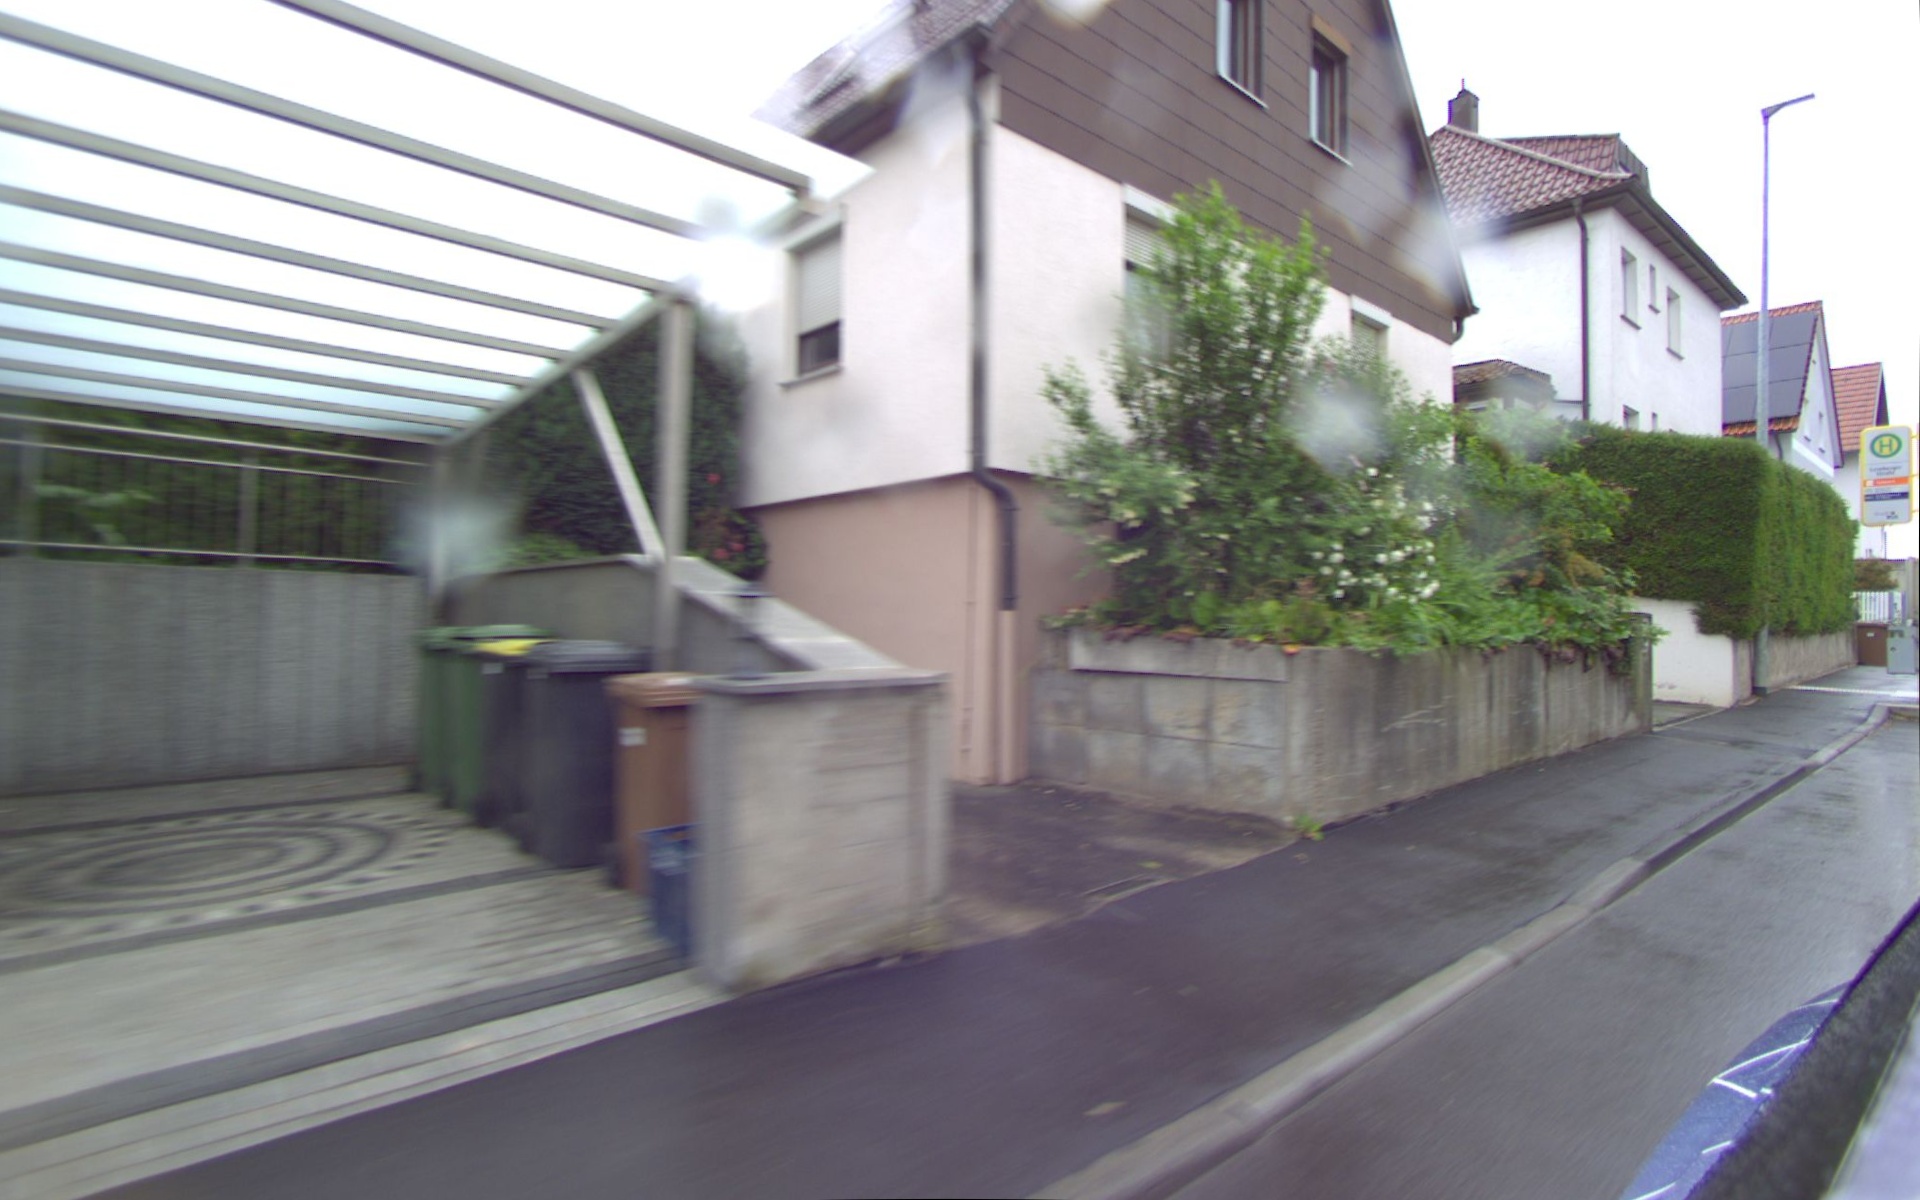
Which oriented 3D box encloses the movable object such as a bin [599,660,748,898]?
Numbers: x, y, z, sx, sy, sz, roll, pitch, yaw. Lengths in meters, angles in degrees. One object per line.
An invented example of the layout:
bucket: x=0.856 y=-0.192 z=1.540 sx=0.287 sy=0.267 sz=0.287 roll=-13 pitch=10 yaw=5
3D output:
movable object such as a bin: x=-1.258 y=0.745 z=4.443 sx=0.468 sy=0.916 sz=0.494 roll=0 pitch=0 yaw=-41

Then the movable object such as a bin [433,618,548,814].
movable object such as a bin: x=-2.783 y=0.650 z=5.991 sx=0.486 sy=1.074 sz=0.543 roll=0 pitch=0 yaw=-41

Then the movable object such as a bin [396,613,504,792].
movable object such as a bin: x=-3.293 y=0.626 z=6.527 sx=0.486 sy=1.074 sz=0.632 roll=0 pitch=0 yaw=-41

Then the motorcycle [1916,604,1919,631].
motorcycle: x=36.036 y=0.666 z=37.323 sx=0.547 sy=1.025 sz=1.148 roll=0 pitch=2 yaw=9

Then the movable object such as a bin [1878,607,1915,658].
movable object such as a bin: x=20.592 y=0.697 z=22.249 sx=0.529 sy=1.090 sz=0.568 roll=0 pitch=0 yaw=-44

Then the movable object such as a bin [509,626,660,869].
movable object such as a bin: x=-1.855 y=0.677 z=4.984 sx=0.517 sy=1.074 sz=0.619 roll=0 pitch=0 yaw=-41

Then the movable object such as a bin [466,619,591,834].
movable object such as a bin: x=-2.341 y=0.647 z=5.487 sx=0.486 sy=1.074 sz=0.543 roll=0 pitch=0 yaw=-41

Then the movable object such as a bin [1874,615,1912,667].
movable object such as a bin: x=19.964 y=0.864 z=21.662 sx=0.514 sy=1.090 sz=0.568 roll=0 pitch=0 yaw=-44
